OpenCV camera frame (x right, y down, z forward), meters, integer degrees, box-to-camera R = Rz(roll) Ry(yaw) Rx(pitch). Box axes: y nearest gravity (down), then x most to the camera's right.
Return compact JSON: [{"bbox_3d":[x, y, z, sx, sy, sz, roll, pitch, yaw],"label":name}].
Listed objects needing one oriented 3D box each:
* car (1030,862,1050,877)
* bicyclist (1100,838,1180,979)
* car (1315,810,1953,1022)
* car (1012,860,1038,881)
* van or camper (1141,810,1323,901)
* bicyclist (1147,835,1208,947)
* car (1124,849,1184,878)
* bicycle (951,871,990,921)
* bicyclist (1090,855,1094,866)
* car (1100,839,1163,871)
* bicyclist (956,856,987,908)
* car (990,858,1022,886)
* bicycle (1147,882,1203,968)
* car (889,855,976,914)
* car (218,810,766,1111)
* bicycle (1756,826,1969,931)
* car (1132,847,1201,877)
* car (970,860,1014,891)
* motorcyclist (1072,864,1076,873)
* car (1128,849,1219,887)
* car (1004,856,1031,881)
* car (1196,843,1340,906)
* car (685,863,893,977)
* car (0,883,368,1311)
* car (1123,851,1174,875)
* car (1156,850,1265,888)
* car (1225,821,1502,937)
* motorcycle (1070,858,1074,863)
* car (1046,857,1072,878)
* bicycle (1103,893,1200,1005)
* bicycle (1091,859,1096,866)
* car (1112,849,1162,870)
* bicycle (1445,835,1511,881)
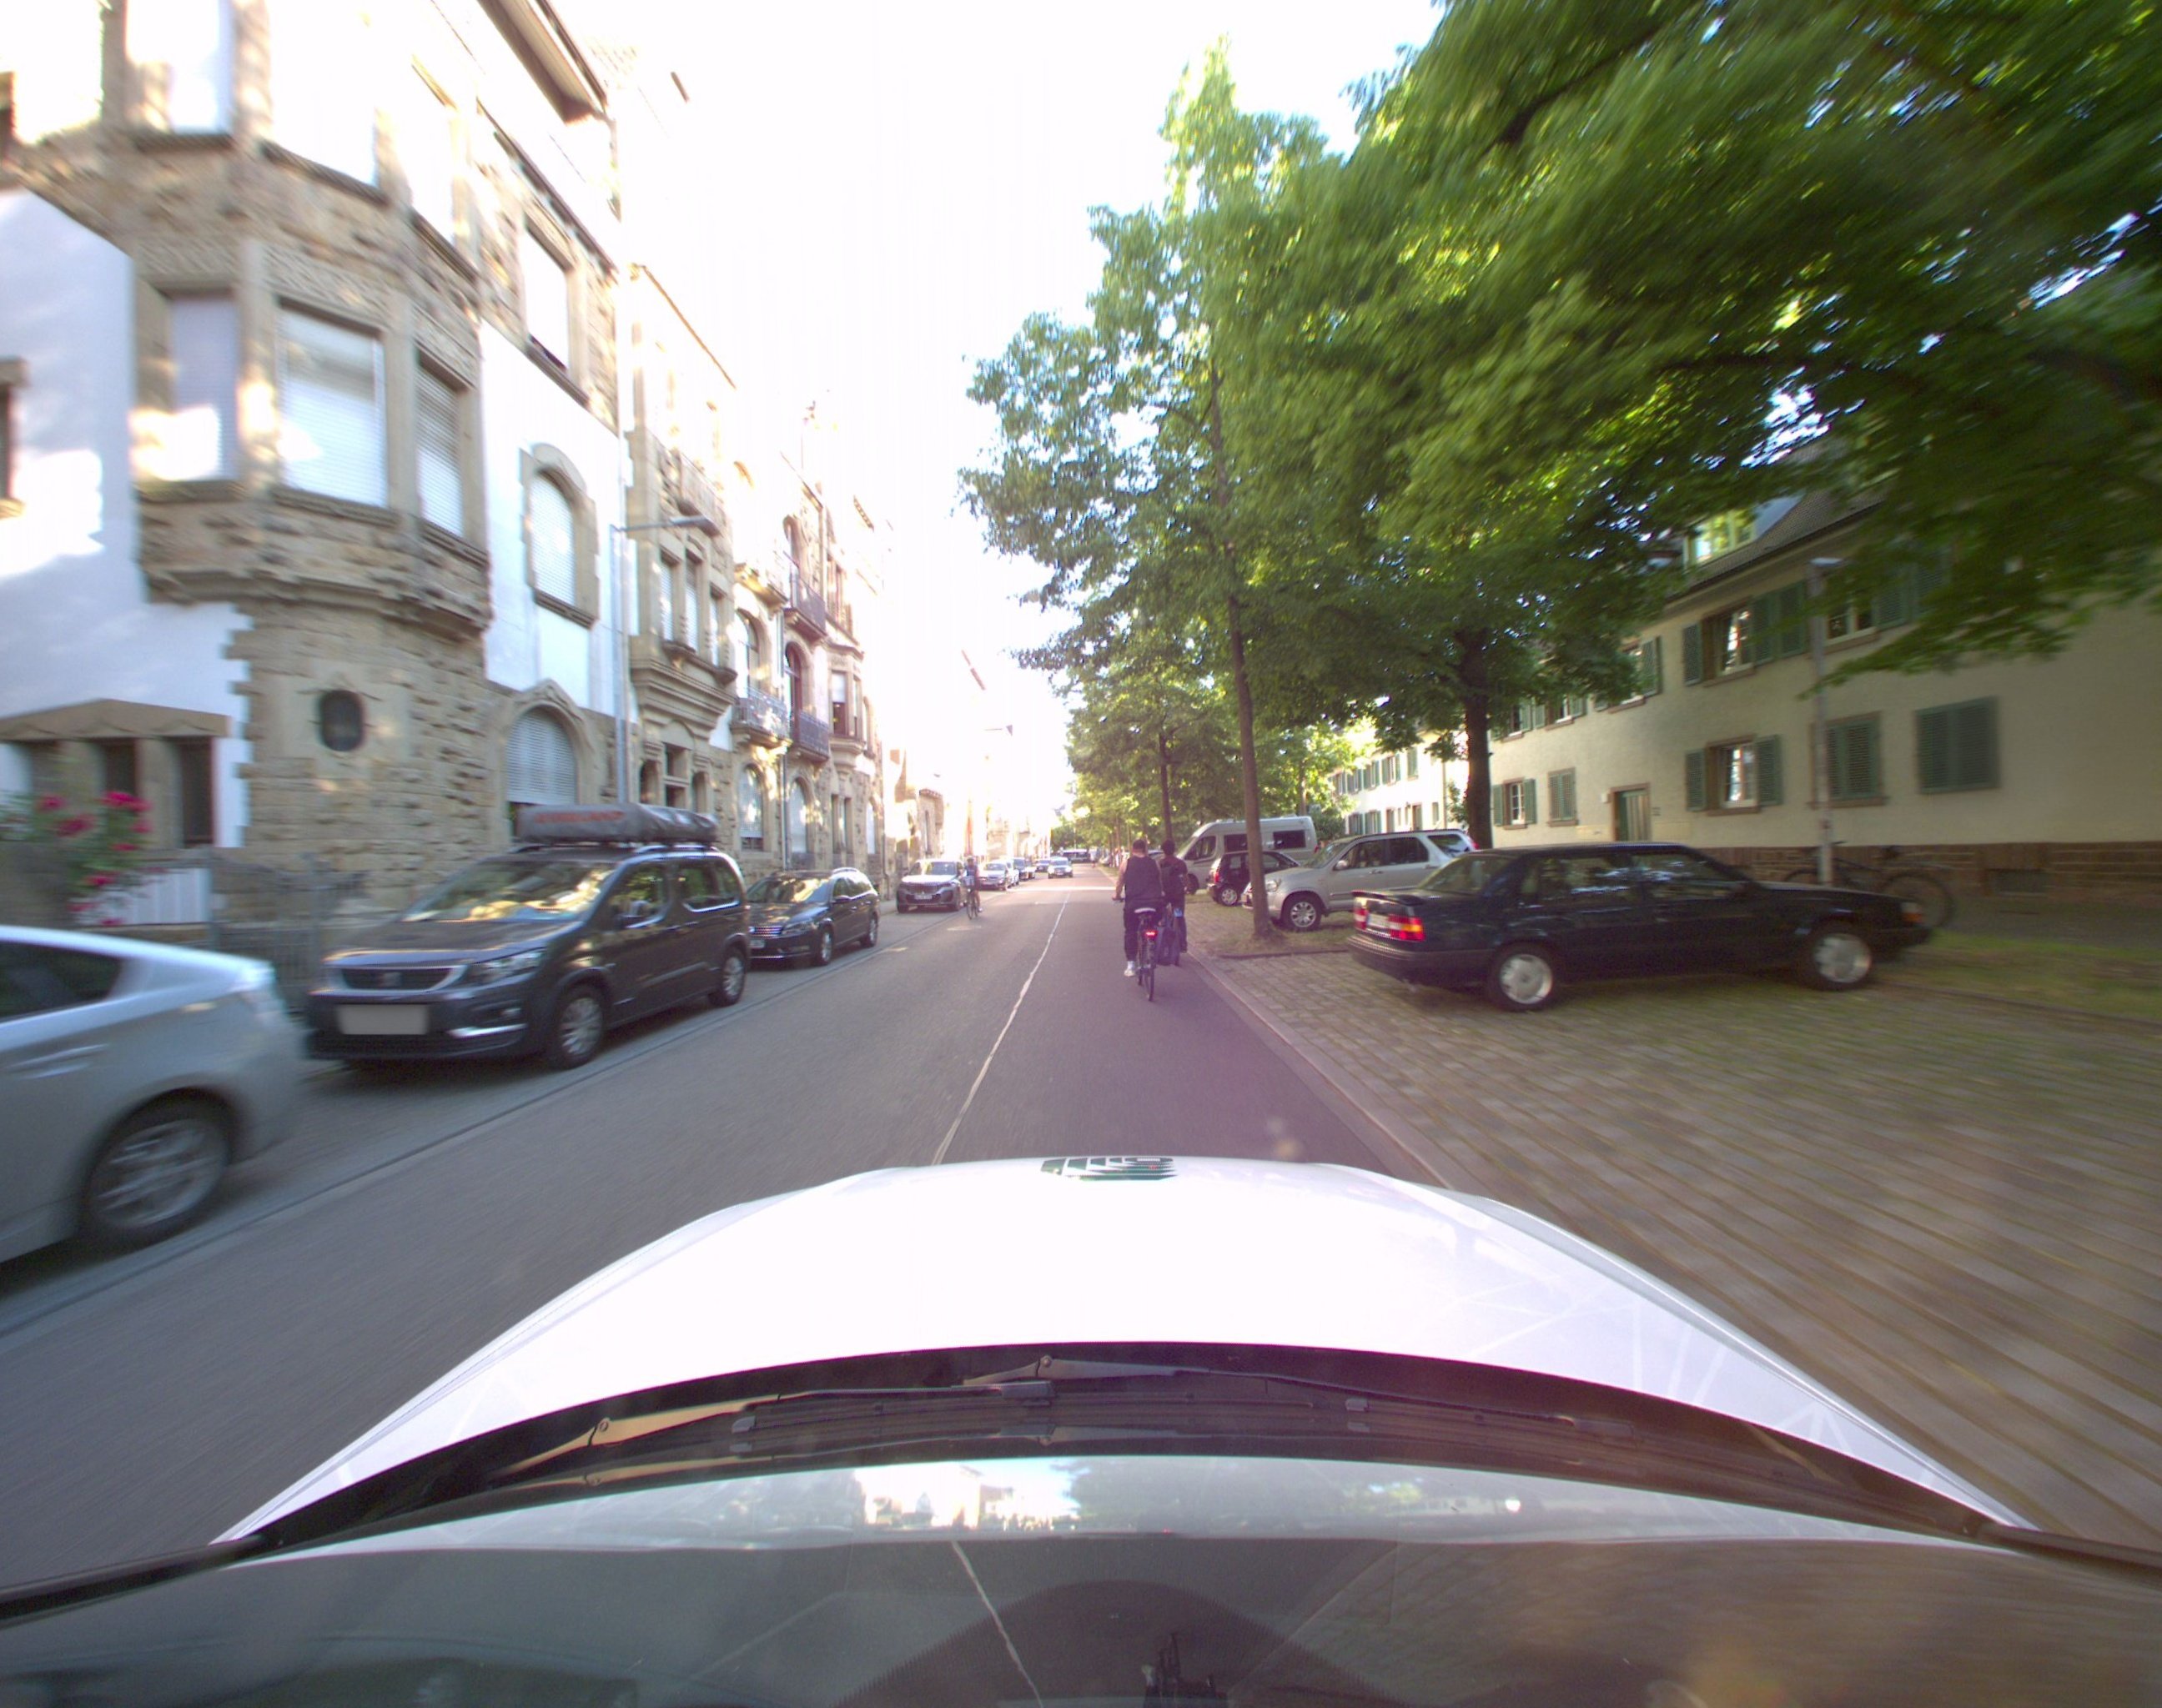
[{"bbox_3d":[-4.416,1.696,88.403,1.988,1.486,3.998,-2,-1,-1],"label":"car"},{"bbox_3d":[0.662,0.608,9.467,0.705,1.527,0.969,-2,-2,-7],"label":"bicyclist"},{"bbox_3d":[5.041,0.541,7.936,4.881,1.442,1.941,-4,-1,-2],"label":"car"},{"bbox_3d":[-4.283,1.247,62.894,1.610,1.482,4.018,2,-1,0],"label":"car"},{"bbox_3d":[4.999,0.056,27.580,5.559,2.536,2.267,-4,-1,-2],"label":"van or camper"},{"bbox_3d":[1.375,0.528,11.785,0.716,1.527,0.971,-2,-2,-1],"label":"bicyclist"},{"bbox_3d":[5.358,0.686,60.189,4.228,1.840,1.855,-4,-1,1],"label":"car"},{"bbox_3d":[-3.006,1.124,22.386,0.751,1.178,2.618,-3,0,-3],"label":"bicycle"},{"bbox_3d":[1.371,0.763,98.380,0.415,1.350,0.430,-2,-2,0],"label":"bicyclist"},{"bbox_3d":[6.038,0.127,97.536,7.307,3.282,2.223,-4,-1,1],"label":"car"},{"bbox_3d":[-2.994,0.763,22.324,0.663,1.345,1.059,-3,0,-3],"label":"bicyclist"},{"bbox_3d":[-4.371,1.031,47.832,1.486,1.517,3.774,2,-1,0],"label":"car"},{"bbox_3d":[1.353,0.994,11.988,0.553,1.073,1.968,-2,0,0],"label":"bicycle"},{"bbox_3d":[-4.610,0.943,25.951,2.044,1.622,4.392,-2,-1,-2],"label":"car"},{"bbox_3d":[-4.802,0.706,7.699,1.963,1.974,4.495,-1,0,-2],"label":"car"},{"bbox_3d":[9.618,0.280,10.146,0.627,1.163,1.929,-2,0,-7],"label":"bicycle"},{"bbox_3d":[5.519,0.542,52.783,4.228,1.647,1.855,-4,-1,1],"label":"car"},{"bbox_3d":[-4.551,1.085,42.242,1.749,1.517,4.114,2,-1,0],"label":"car"},{"bbox_3d":[-1.209,2.354,133.823,0.549,1.448,0.687,-3,0,-2],"label":"motorcyclist"},{"bbox_3d":[4.608,0.708,40.896,4.234,1.606,1.751,-3,-1,-3],"label":"car"},{"bbox_3d":[-4.438,1.048,57.426,1.626,1.665,3.967,-2,-1,-1],"label":"car"},{"bbox_3d":[5.086,0.558,22.458,3.491,1.472,1.751,-3,-1,-1],"label":"car"},{"bbox_3d":[-4.756,1.001,14.085,1.723,1.574,4.710,-2,-1,2],"label":"car"},{"bbox_3d":[-4.786,0.924,2.278,1.725,1.499,4.452,-1,0,-2],"label":"car"},{"bbox_3d":[5.840,0.821,70.657,4.228,1.797,1.855,-4,-1,1],"label":"car"},{"bbox_3d":[5.658,0.664,35.998,4.486,1.453,1.816,-3,-1,1],"label":"car"},{"bbox_3d":[5.166,0.422,15.329,4.464,1.669,1.941,-5,0,-2],"label":"car"},{"bbox_3d":[-1.514,1.066,133.089,0.549,0.801,1.307,-3,0,-2],"label":"motorcycle"},{"bbox_3d":[-1.751,1.069,63.012,1.892,1.486,4.377,-2,-1,-3],"label":"car"},{"bbox_3d":[0.751,1.011,9.308,0.695,1.073,1.964,-2,-1,-6],"label":"bicycle"},{"bbox_3d":[1.462,1.075,98.337,0.539,0.828,1.918,-2,-1,1],"label":"bicycle"},{"bbox_3d":[5.507,0.595,80.818,4.740,1.780,1.855,-4,-1,1],"label":"car"},{"bbox_3d":[12.750,0.126,26.215,0.800,1.399,1.996,-2,0,-13],"label":"bicycle"}]
